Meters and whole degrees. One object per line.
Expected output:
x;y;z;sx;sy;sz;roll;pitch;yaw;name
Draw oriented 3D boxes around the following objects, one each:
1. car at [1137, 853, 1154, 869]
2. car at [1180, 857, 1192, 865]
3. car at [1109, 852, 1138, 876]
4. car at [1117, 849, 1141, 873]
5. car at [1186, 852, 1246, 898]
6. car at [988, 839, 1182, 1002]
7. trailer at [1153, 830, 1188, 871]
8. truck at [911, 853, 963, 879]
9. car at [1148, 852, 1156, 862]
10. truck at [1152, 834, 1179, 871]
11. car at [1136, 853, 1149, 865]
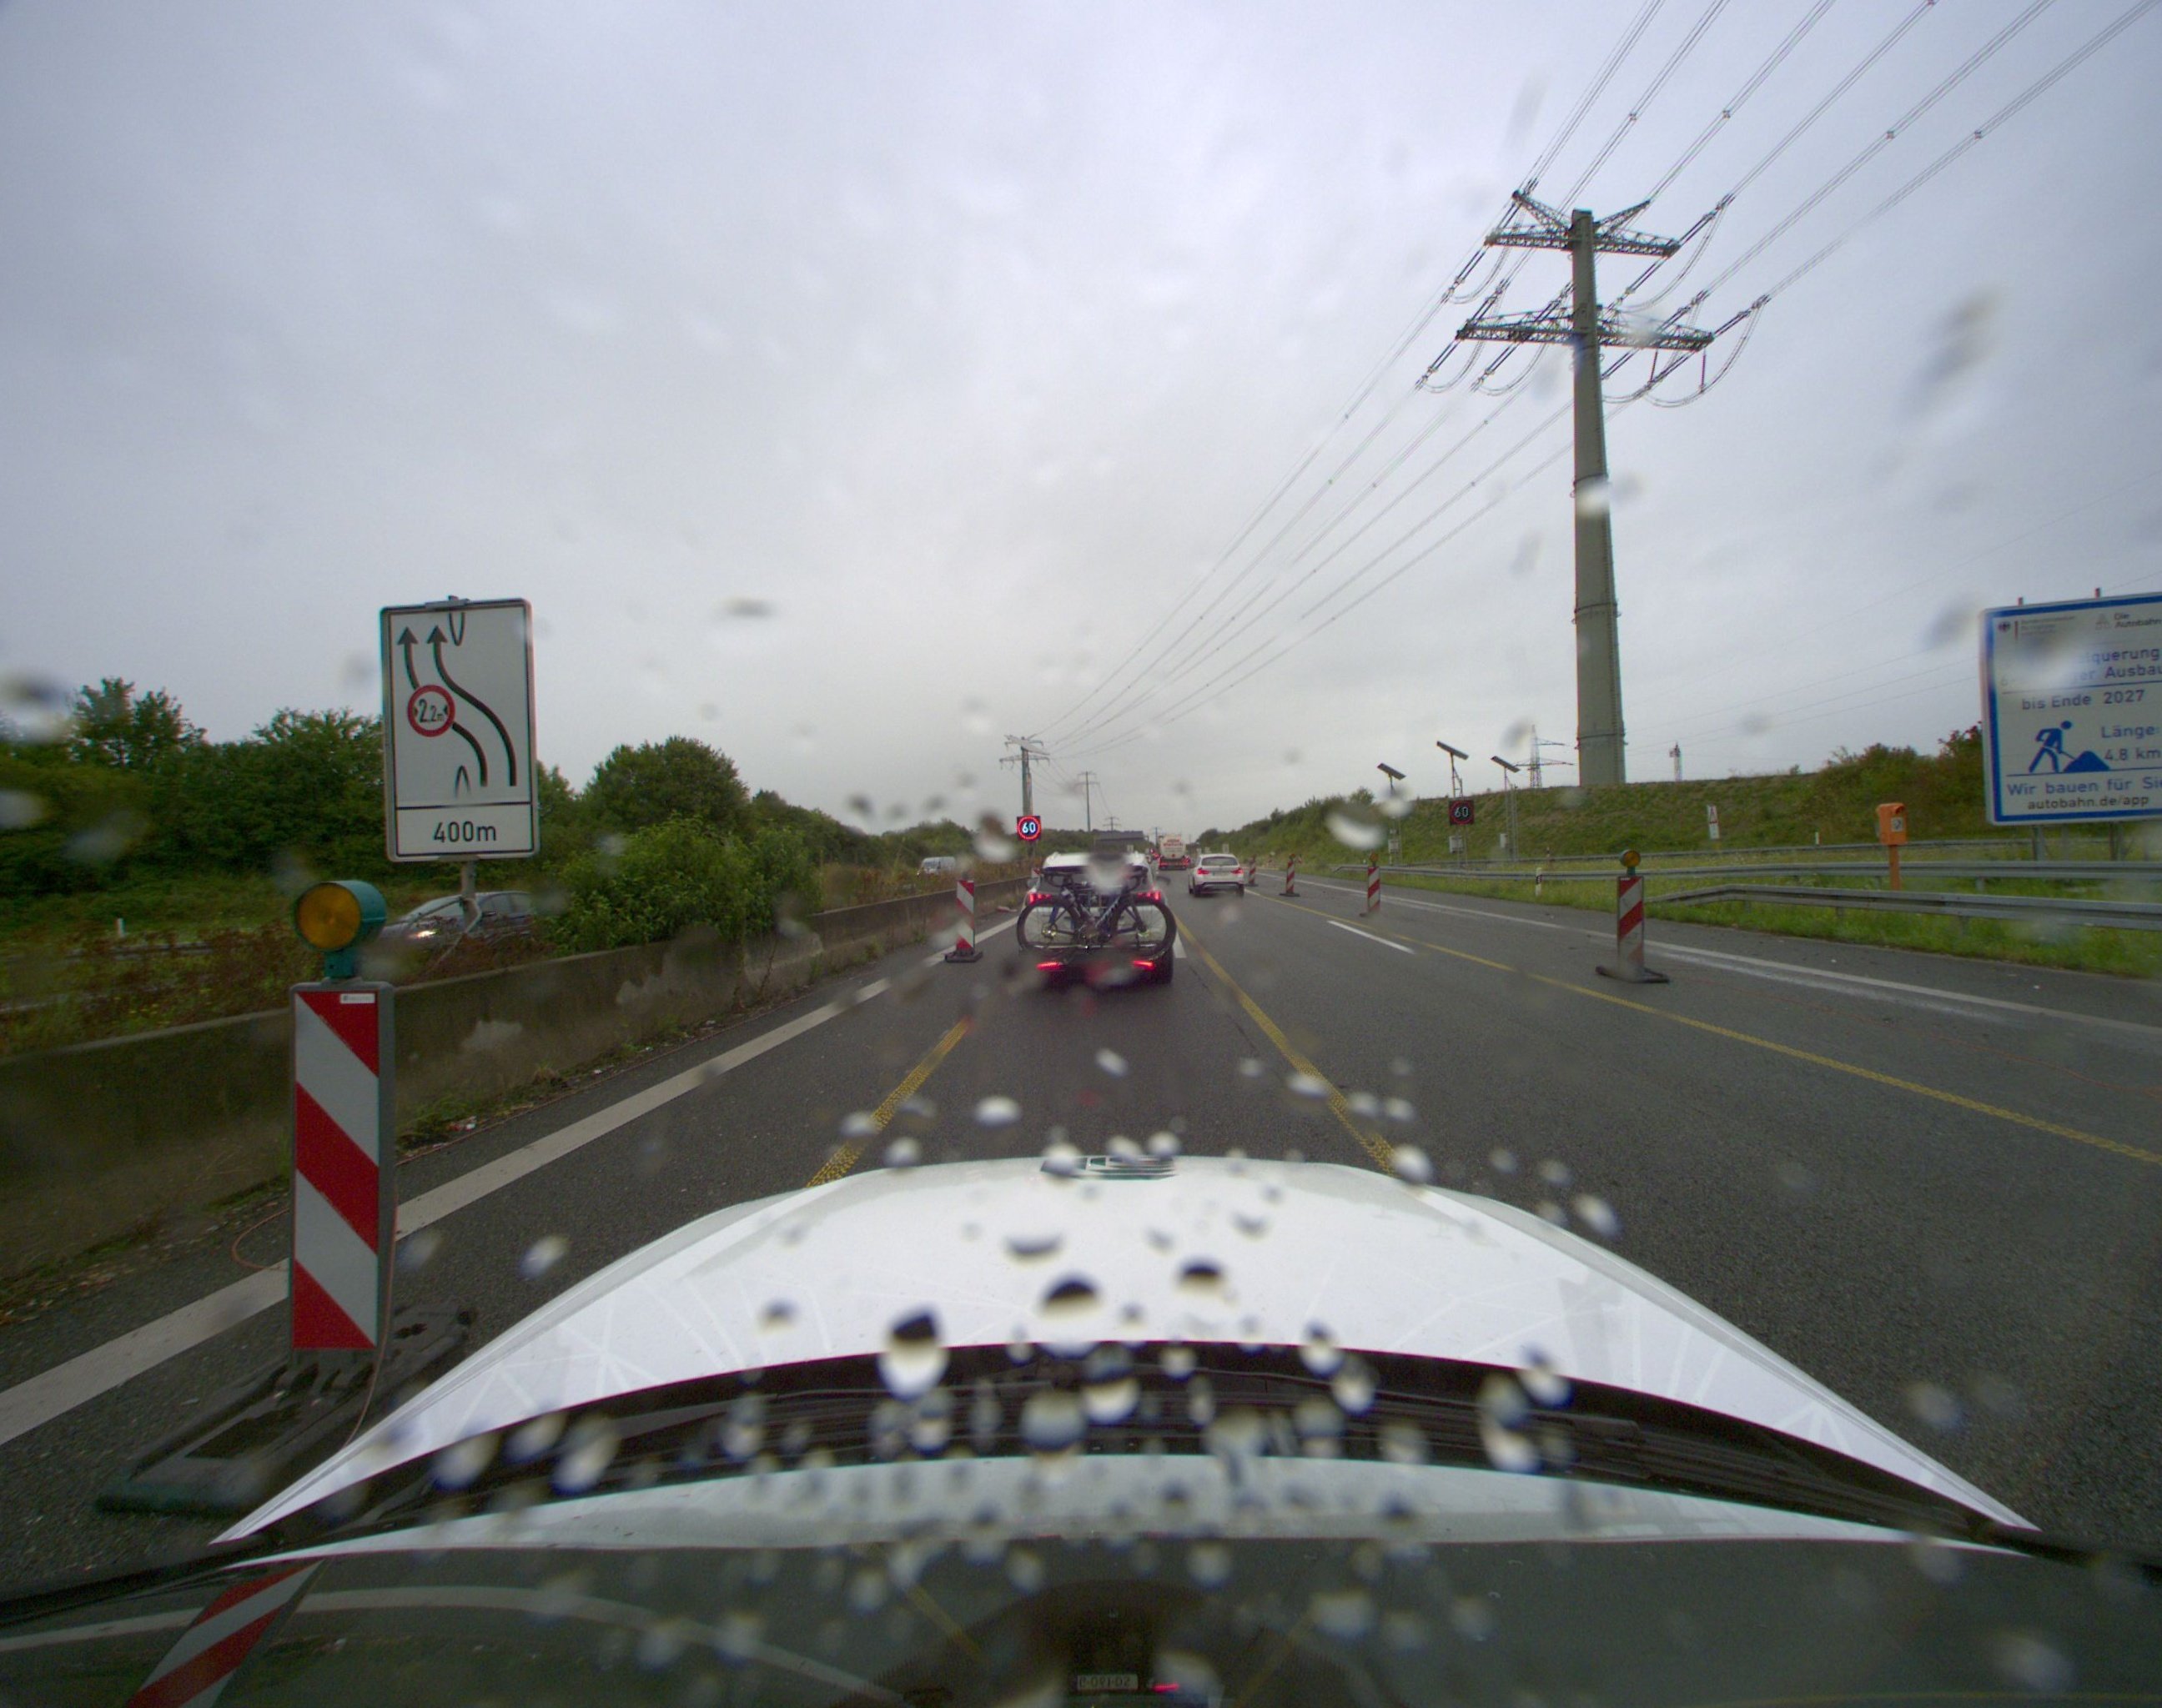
7.880;0.864;99.914;1.986;2.014;4.002;0;-1;2;car
17.011;1.078;131.632;1.477;1.161;3.909;-3;0;2;car
3.012;0.692;58.266;1.986;1.584;4.002;-1;0;2;car
4.302;0.654;73.891;1.986;2.013;4.002;-3;0;2;car
4.901;0.733;30.049;1.861;1.535;4.203;-1;0;5;car
0.207;0.678;10.471;1.919;1.611;4.600;-1;0;4;car
8.870;-0.265;81.503;2.628;3.893;10.547;0;-1;2;trailer
-14.870;1.188;84.414;1.976;2.428;6.470;-3;0;24;truck
14.508;0.659;166.650;1.645;2.013;4.007;-1;0;6;car
9.099;-0.167;88.236;2.635;3.891;4.031;0;-1;2;truck
10.398;0.791;137.688;1.986;2.014;4.002;0;-1;2;car
